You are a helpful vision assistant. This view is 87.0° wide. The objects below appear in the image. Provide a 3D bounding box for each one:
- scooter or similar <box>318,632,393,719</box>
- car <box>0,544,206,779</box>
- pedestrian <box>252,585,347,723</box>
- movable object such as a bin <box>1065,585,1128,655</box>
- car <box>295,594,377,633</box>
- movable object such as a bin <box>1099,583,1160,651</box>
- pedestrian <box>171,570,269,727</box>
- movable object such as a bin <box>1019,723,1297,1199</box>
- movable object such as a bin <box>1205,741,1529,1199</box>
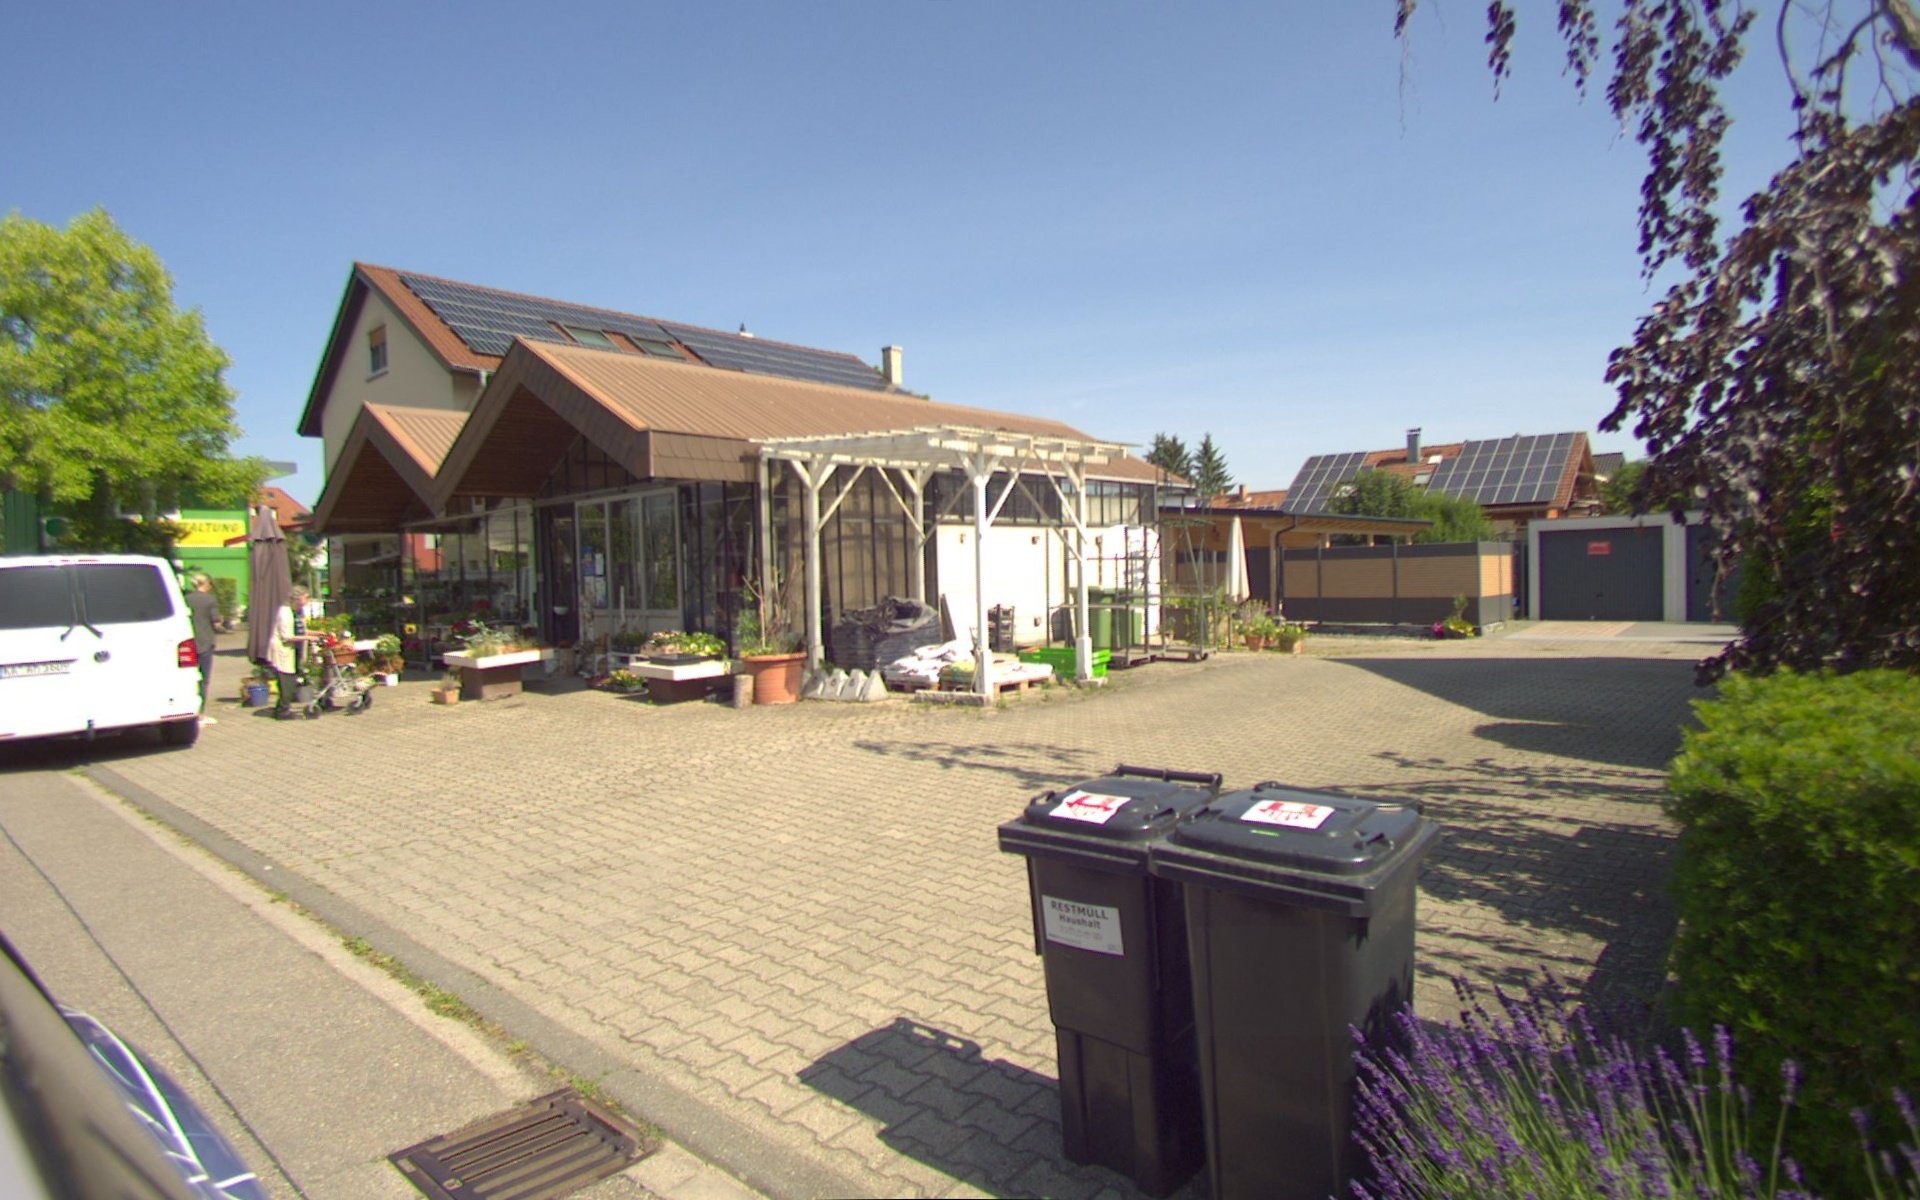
[{"bbox_3d":[-7.206,0.888,12.083,0.592,0.953,0.623,-2,1,-14],"label":"scooter or similar"},{"bbox_3d":[-9.746,0.523,10.762,4.896,2.028,1.908,0,2,43],"label":"car"},{"bbox_3d":[-7.771,0.614,11.934,0.707,1.550,0.644,-3,1,-15],"label":"pedestrian"},{"bbox_3d":[2.205,0.318,16.325,0.714,1.076,0.799,-1,1,35],"label":"movable object such as a bin"},{"bbox_3d":[-26.449,0.527,42.840,3.999,1.458,1.837,1,4,42],"label":"car"},{"bbox_3d":[2.828,0.274,16.879,0.714,1.076,0.799,-1,1,35],"label":"movable object such as a bin"},{"bbox_3d":[-8.576,0.542,11.758,0.680,1.744,0.644,-3,1,-18],"label":"pedestrian"},{"bbox_3d":[0.478,0.852,2.413,0.447,1.032,0.489,-1,1,42],"label":"movable object such as a bin"},{"bbox_3d":[0.816,0.846,2.012,0.447,1.032,0.489,-1,1,42],"label":"movable object such as a bin"}]
